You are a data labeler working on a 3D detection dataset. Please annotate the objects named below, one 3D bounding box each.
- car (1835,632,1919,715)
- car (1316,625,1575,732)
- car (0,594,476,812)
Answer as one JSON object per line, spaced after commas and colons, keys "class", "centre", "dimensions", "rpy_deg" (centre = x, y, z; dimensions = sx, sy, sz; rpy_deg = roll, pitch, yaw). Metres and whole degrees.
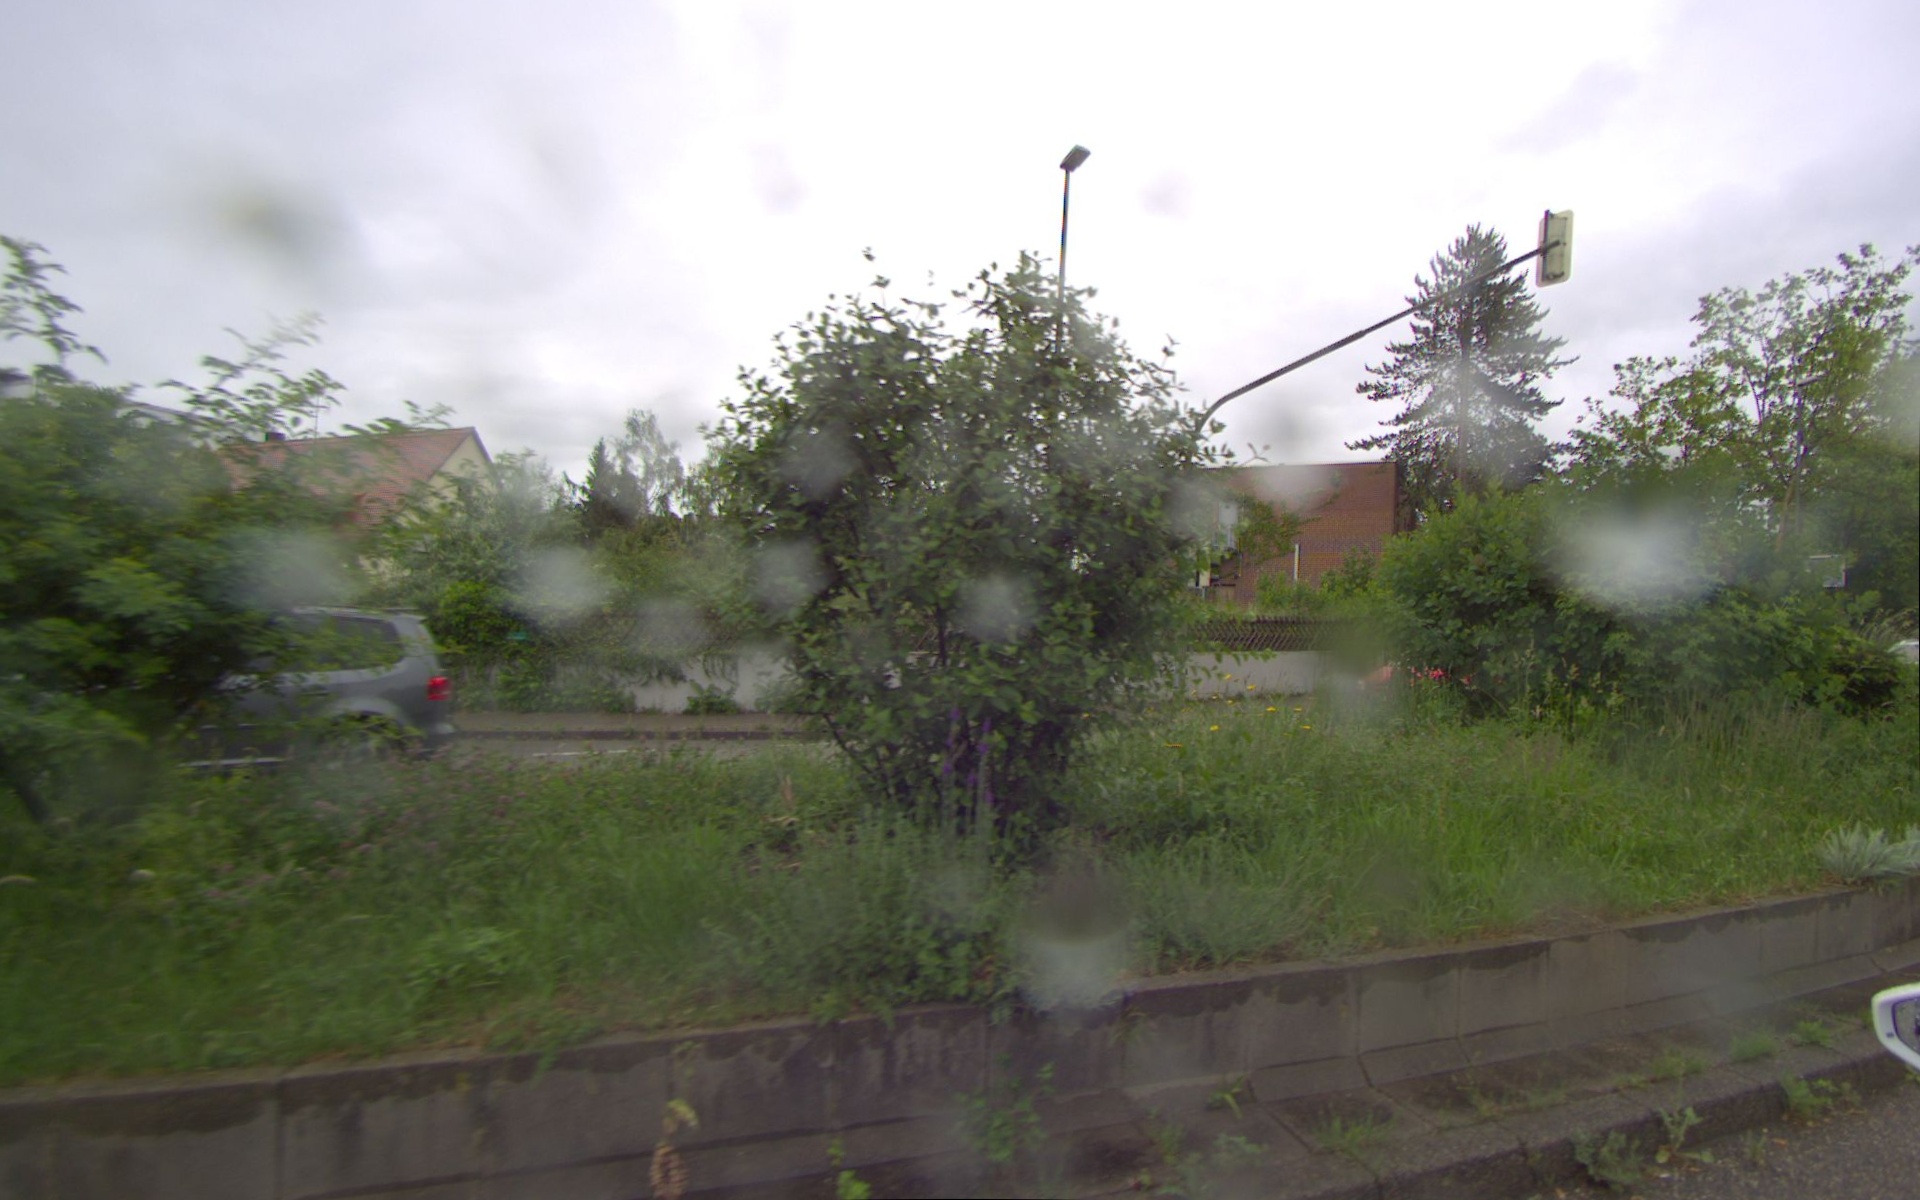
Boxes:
{"class": "car", "centre": [21.134, 1.562, 21.746], "dimensions": [4.544, 1.683, 1.984], "rpy_deg": [2, -2, -31]}
{"class": "car", "centre": [8.662, 1.333, 17.857], "dimensions": [4.544, 1.683, 1.984], "rpy_deg": [2, -2, -31]}
{"class": "car", "centre": [-6.531, 0.821, 8.821], "dimensions": [3.954, 1.599, 1.984], "rpy_deg": [2, -3, -31]}
